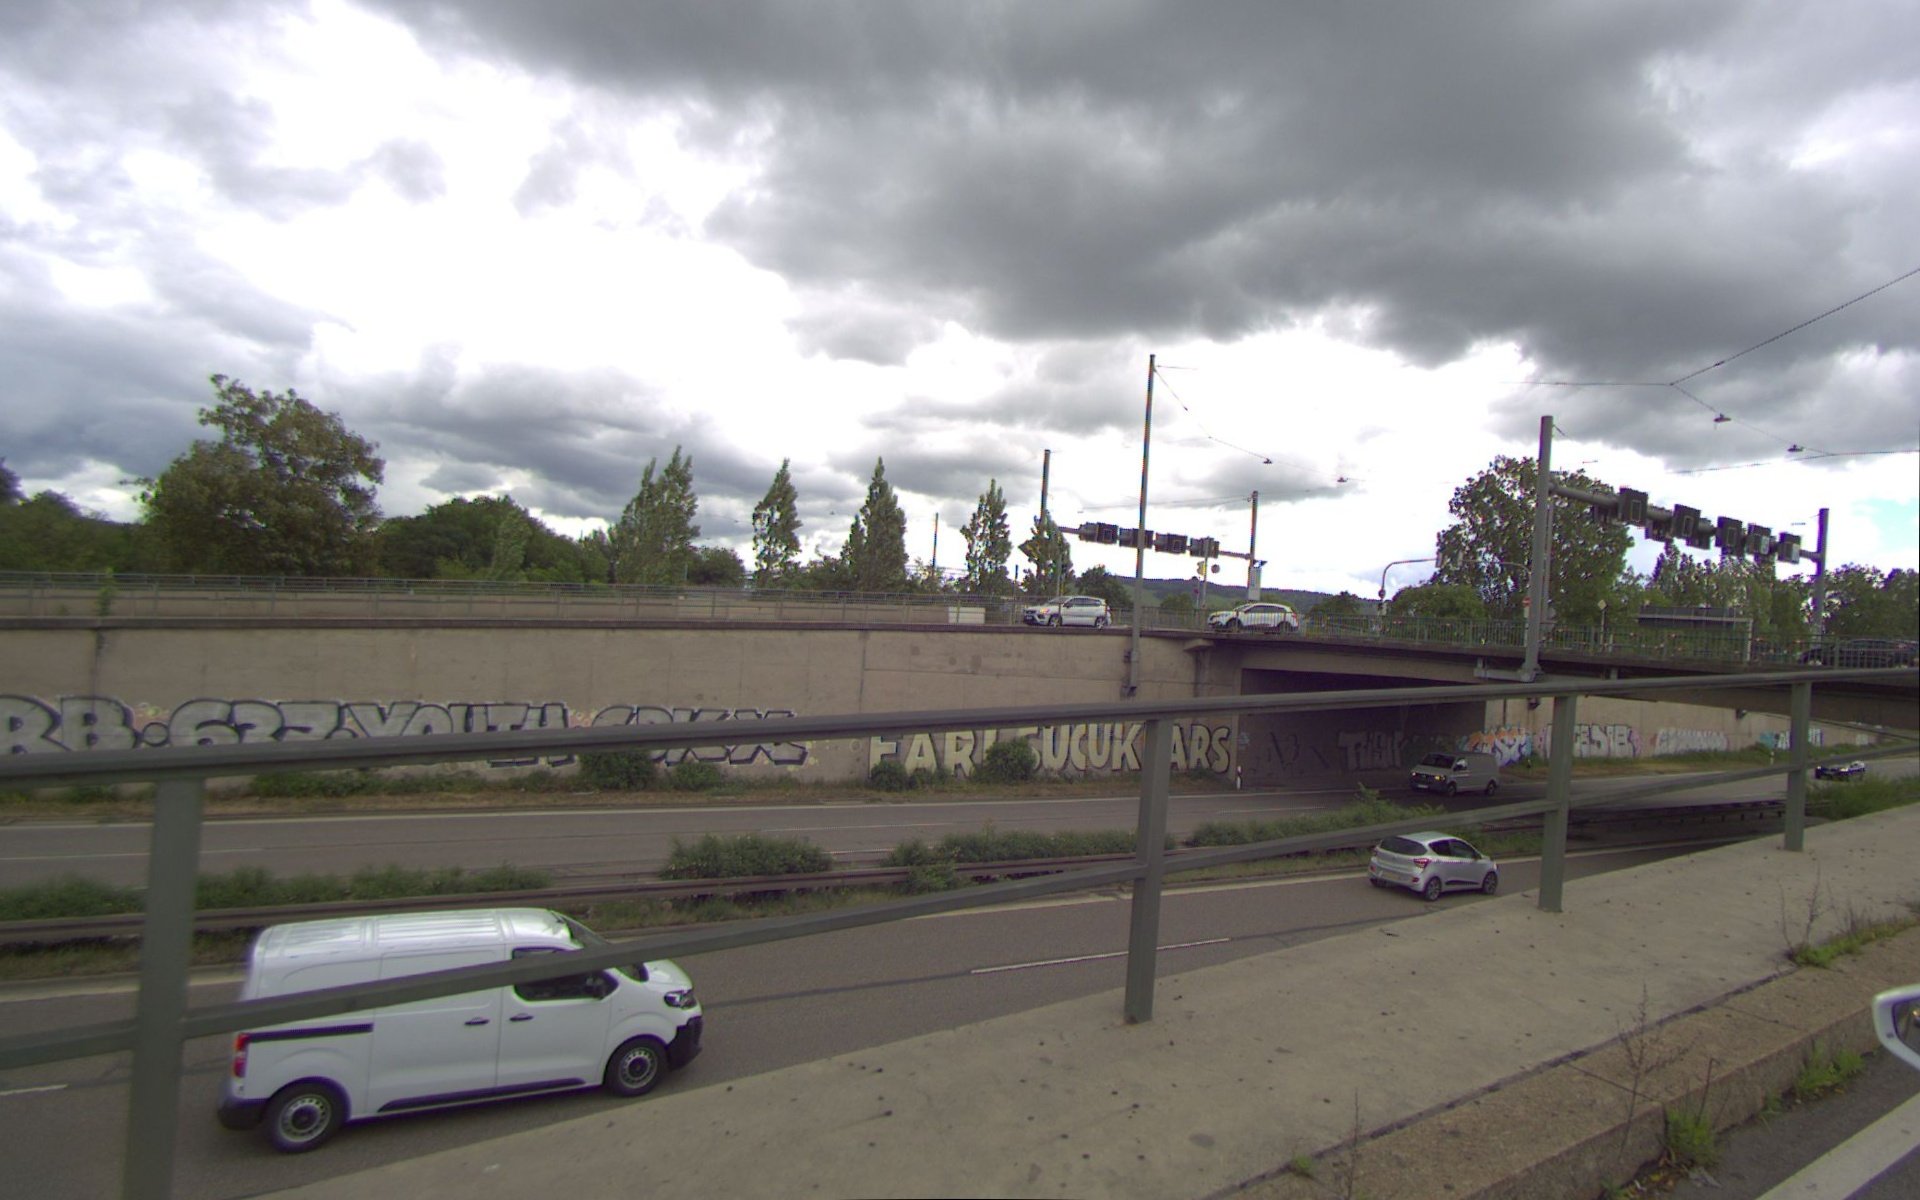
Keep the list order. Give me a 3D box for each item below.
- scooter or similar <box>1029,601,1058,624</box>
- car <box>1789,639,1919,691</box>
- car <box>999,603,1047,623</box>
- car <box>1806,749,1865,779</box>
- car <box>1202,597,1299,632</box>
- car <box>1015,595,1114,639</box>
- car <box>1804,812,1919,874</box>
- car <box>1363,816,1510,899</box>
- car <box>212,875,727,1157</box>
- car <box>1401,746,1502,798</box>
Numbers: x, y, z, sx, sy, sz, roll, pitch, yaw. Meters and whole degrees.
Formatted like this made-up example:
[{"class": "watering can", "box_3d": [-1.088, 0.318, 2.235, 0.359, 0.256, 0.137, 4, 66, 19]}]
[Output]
[{"class": "scooter or similar", "box_3d": [4.297, 0.650, 51.729, 1.402, 1.108, 0.539, 4, -2, -35]}, {"class": "car", "box_3d": [34.724, 2.453, 38.623, 1.916, 1.740, 3.965, 2, 0, -32]}, {"class": "car", "box_3d": [4.563, 0.916, 73.363, 1.537, 1.372, 3.859, 2, 0, -32]}, {"class": "car", "box_3d": [60.702, 11.365, 69.646, 4.504, 1.761, 1.905, 5, -3, -32]}, {"class": "car", "box_3d": [14.389, 0.735, 49.870, 4.262, 1.597, 1.838, 1, 0, -3]}, {"class": "car", "box_3d": [4.794, 0.771, 46.048, 4.166, 1.895, 1.983, 2, 0, -32]}, {"class": "car", "box_3d": [29.865, 7.967, 33.177, 4.118, 1.470, 1.734, 5, -3, -30]}, {"class": "car", "box_3d": [12.172, 6.498, 25.632, 3.640, 1.573, 1.549, 5, -2, -30]}, {"class": "car", "box_3d": [-5.409, 4.525, 11.632, 4.839, 1.960, 1.941, 6, -2, -29]}, {"class": "car", "box_3d": [23.562, 8.177, 48.057, 5.125, 2.094, 1.981, 5, -2, -34]}]
